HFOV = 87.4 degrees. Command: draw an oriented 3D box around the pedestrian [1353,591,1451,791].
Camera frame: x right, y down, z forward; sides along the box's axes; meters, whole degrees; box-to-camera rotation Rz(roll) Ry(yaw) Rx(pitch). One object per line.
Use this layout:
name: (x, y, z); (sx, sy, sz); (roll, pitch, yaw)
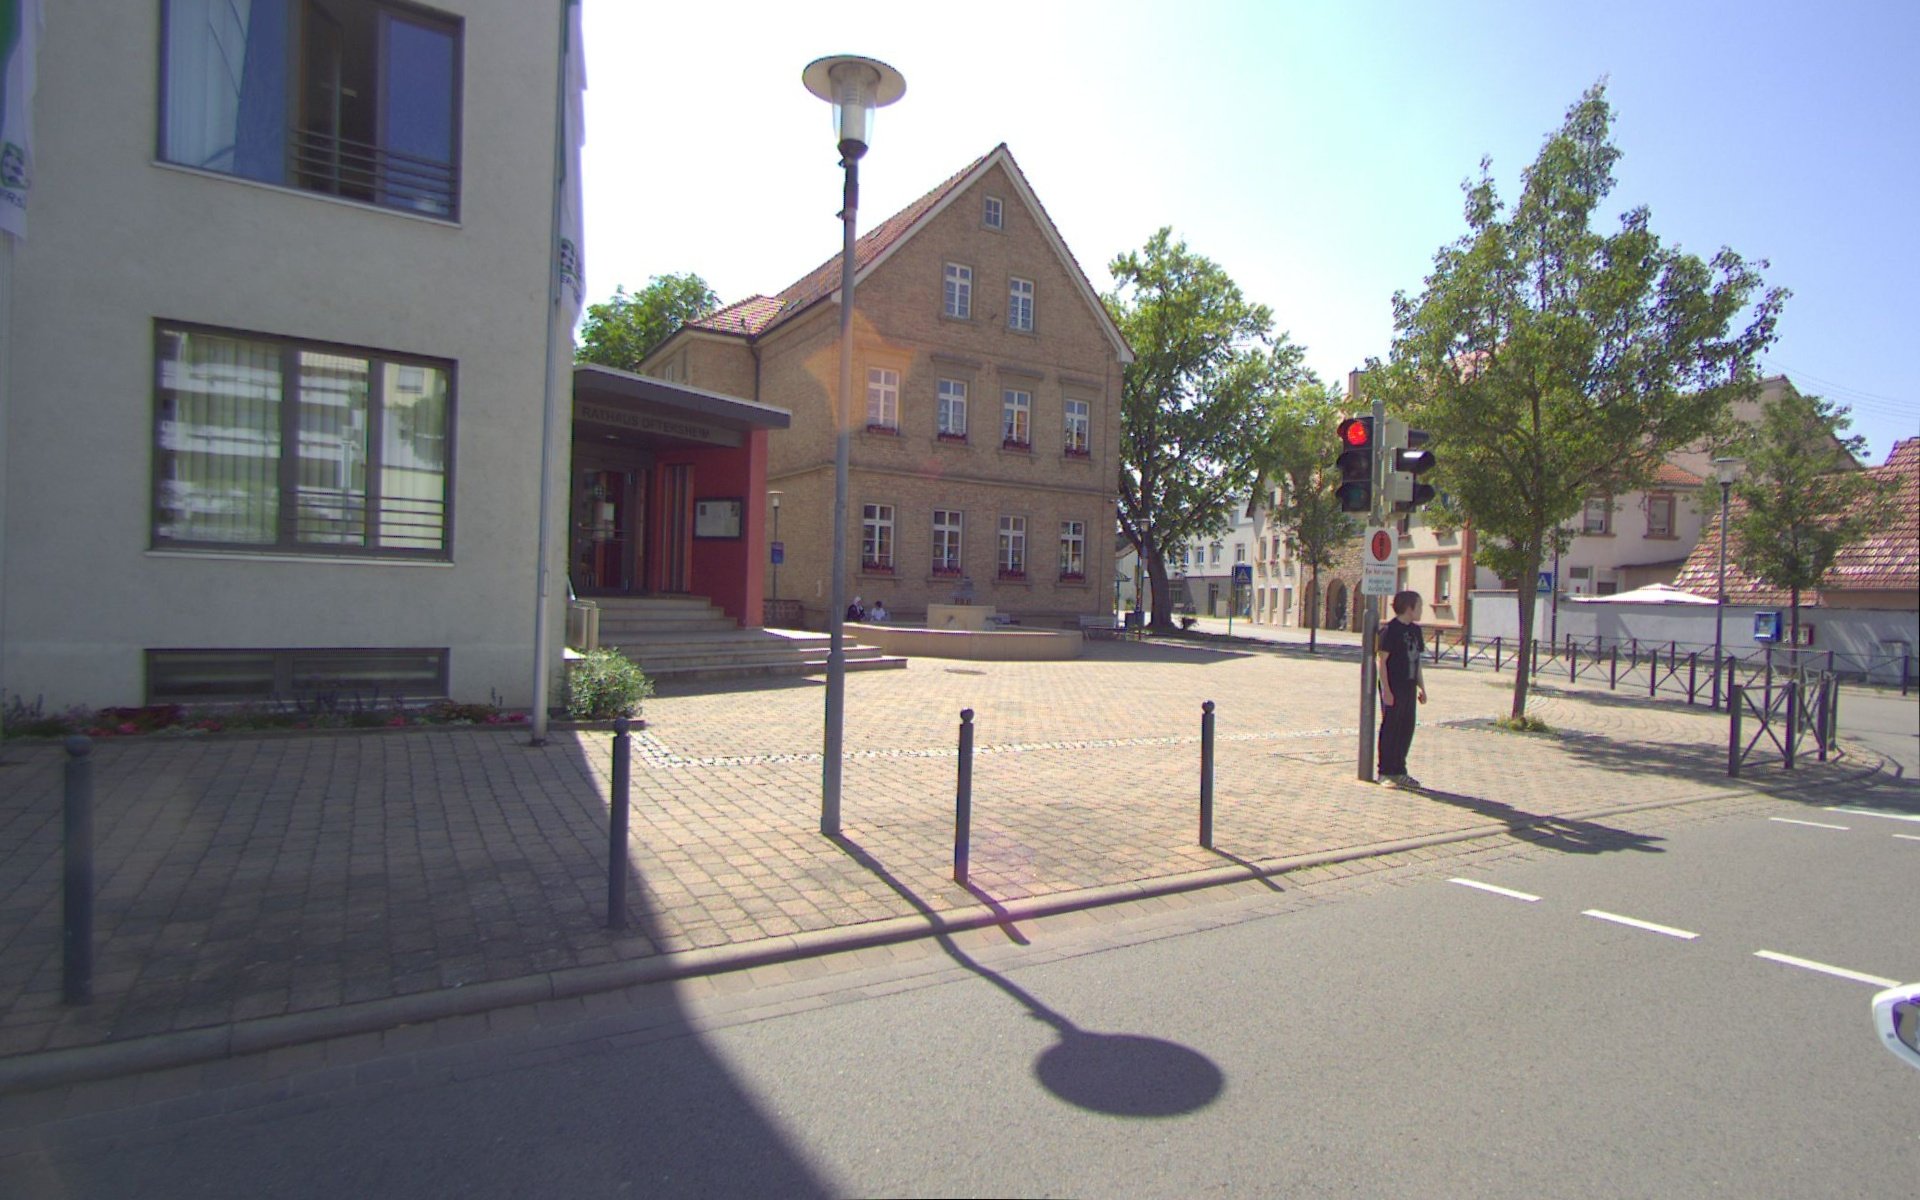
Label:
pedestrian: (3.795, 0.761, 8.652); (0.546, 1.640, 0.550); (3, 0, 4)

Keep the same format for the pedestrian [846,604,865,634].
pedestrian: (-2.950, 0.540, 28.393); (0.356, 0.828, 0.365); (2, 0, 42)

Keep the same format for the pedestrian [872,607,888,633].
pedestrian: (-2.296, 0.575, 28.888); (0.352, 0.742, 0.288); (2, 0, 43)
